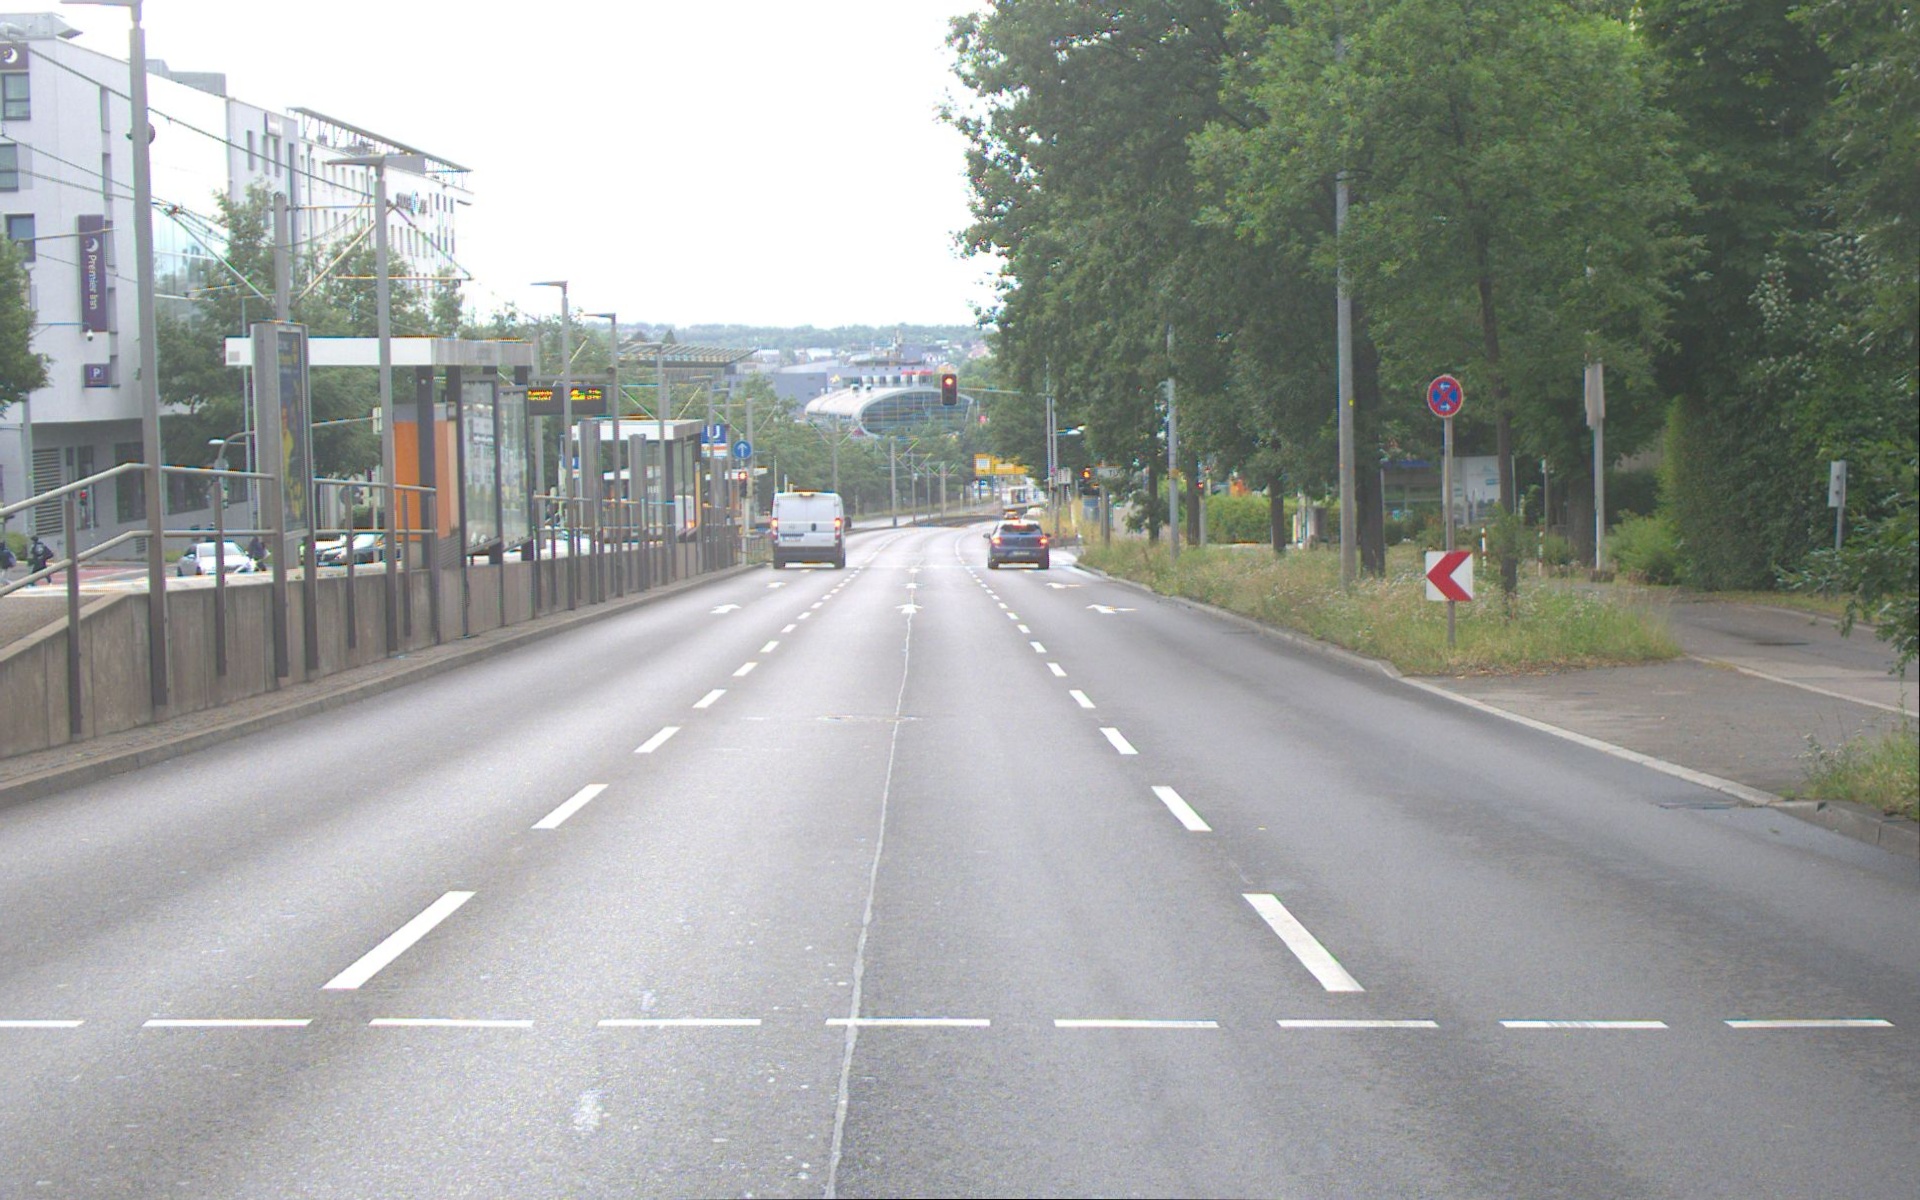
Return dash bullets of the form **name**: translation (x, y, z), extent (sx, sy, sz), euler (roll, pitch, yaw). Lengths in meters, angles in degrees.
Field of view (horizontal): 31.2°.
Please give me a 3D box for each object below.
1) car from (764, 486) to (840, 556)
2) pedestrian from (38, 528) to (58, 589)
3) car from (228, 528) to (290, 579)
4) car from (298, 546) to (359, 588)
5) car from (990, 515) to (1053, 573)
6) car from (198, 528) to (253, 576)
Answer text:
- **car**: translation (-4.682, -2.350, 102.406), extent (2.093, 2.046, 4.607), euler (0, 1, -1)
- **pedestrian**: translation (-28.385, -1.294, 106.975), extent (0.475, 1.914, 0.490), euler (0, 1, -1)
- **car**: translation (-21.127, -1.398, 103.523), extent (1.650, 1.431, 3.881), euler (-3, 1, -13)
- **car**: translation (-21.542, -1.146, 117.388), extent (1.567, 1.374, 3.519), euler (0, 2, -2)
- **car**: translation (1.811, -1.683, 102.784), extent (1.774, 1.685, 3.846), euler (0, 1, -1)
- **car**: translation (-23.415, -1.549, 109.655), extent (1.650, 1.431, 3.881), euler (-3, 1, -12)
